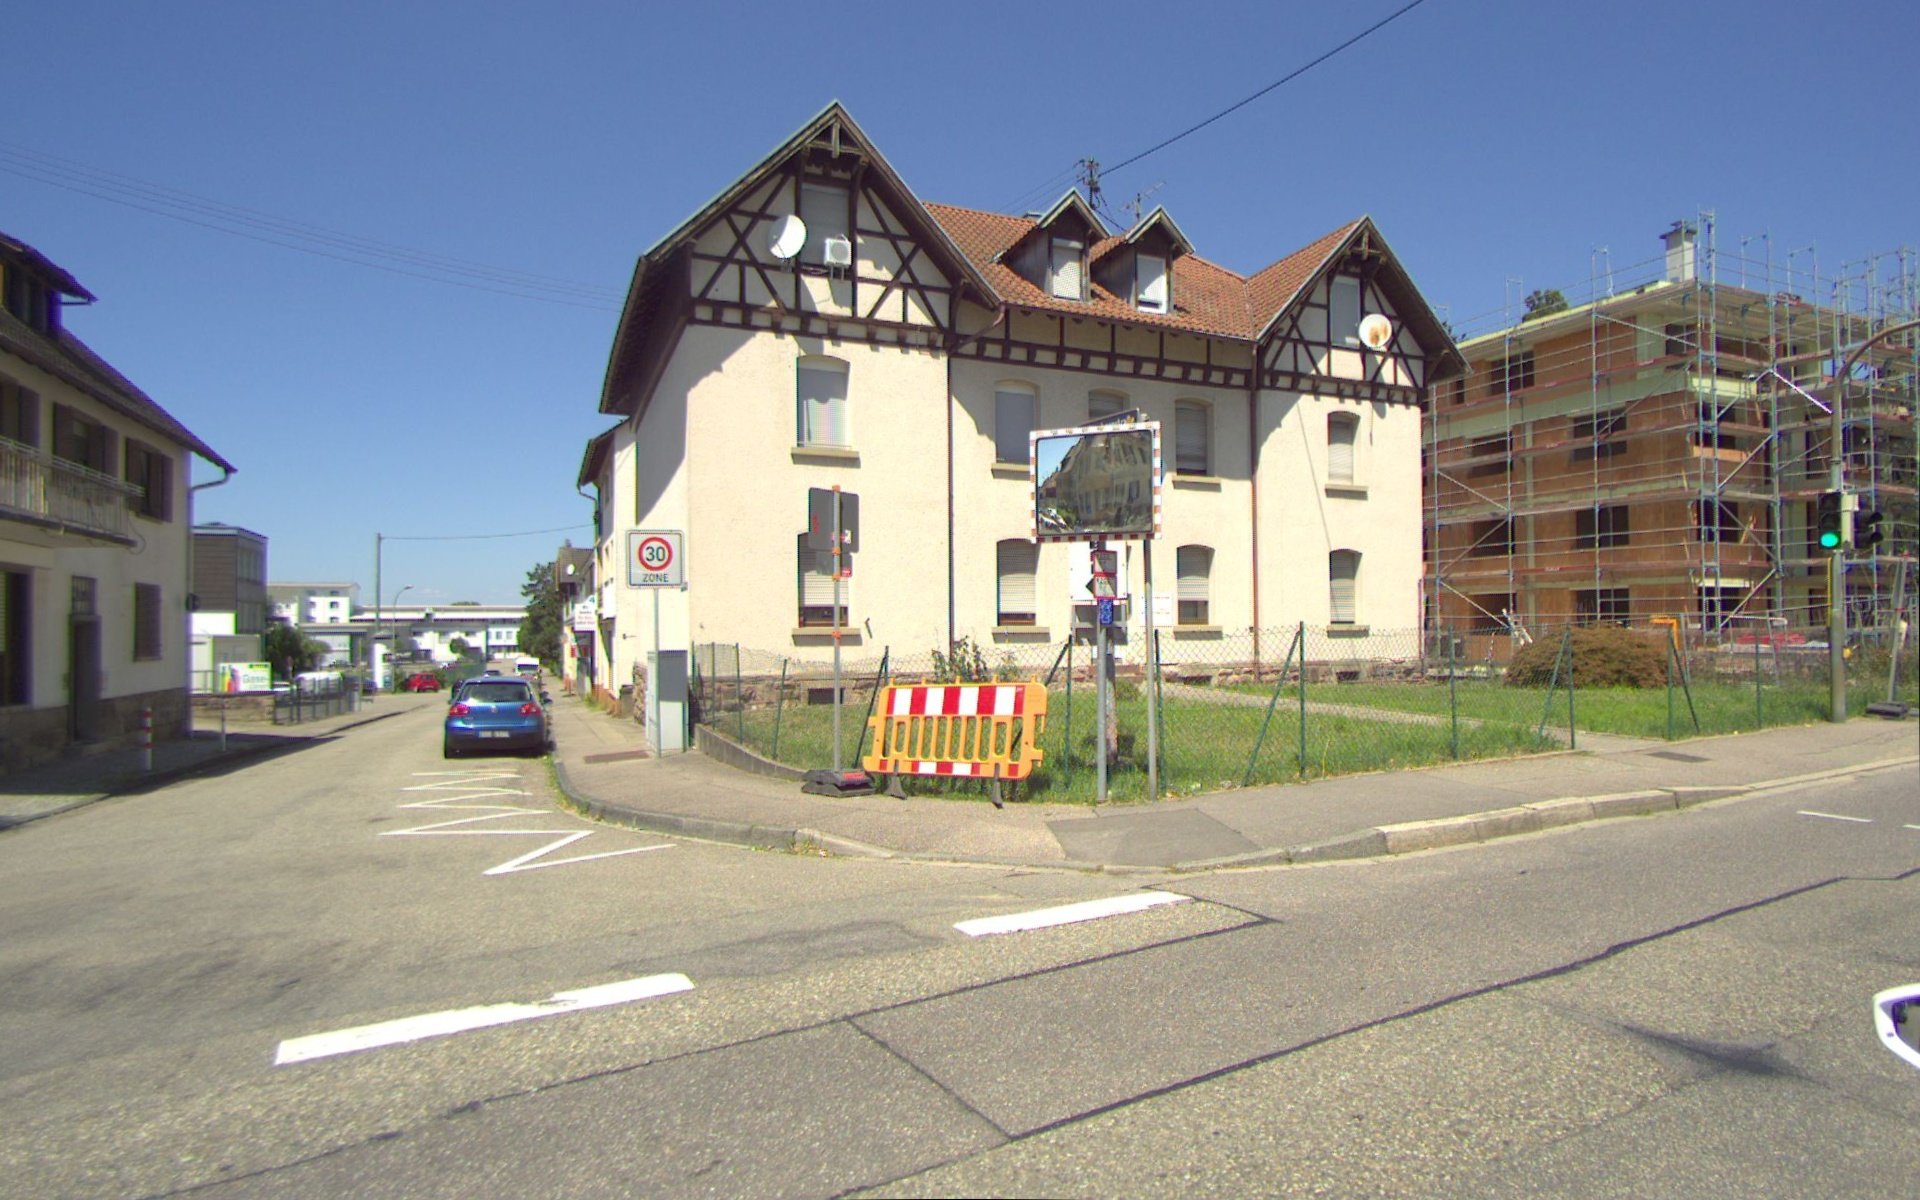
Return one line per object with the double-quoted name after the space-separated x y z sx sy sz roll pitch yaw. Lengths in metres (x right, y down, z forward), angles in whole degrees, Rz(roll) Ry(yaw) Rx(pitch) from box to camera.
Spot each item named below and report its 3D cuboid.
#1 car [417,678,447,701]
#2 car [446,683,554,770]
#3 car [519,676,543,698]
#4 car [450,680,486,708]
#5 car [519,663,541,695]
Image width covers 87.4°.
-40.657 6.876 77.407 1.775 1.624 3.979 0 -4 -23 "car"
-9.049 2.415 19.937 1.775 1.452 3.979 0 -4 -23 "car"
-34.486 6.959 80.782 1.775 1.624 3.979 0 -4 -23 "car"
-30.734 5.854 62.846 1.775 1.624 3.979 0 -4 -23 "car"
-39.014 7.187 91.164 1.775 2.785 3.979 0 -4 -23 "car"
